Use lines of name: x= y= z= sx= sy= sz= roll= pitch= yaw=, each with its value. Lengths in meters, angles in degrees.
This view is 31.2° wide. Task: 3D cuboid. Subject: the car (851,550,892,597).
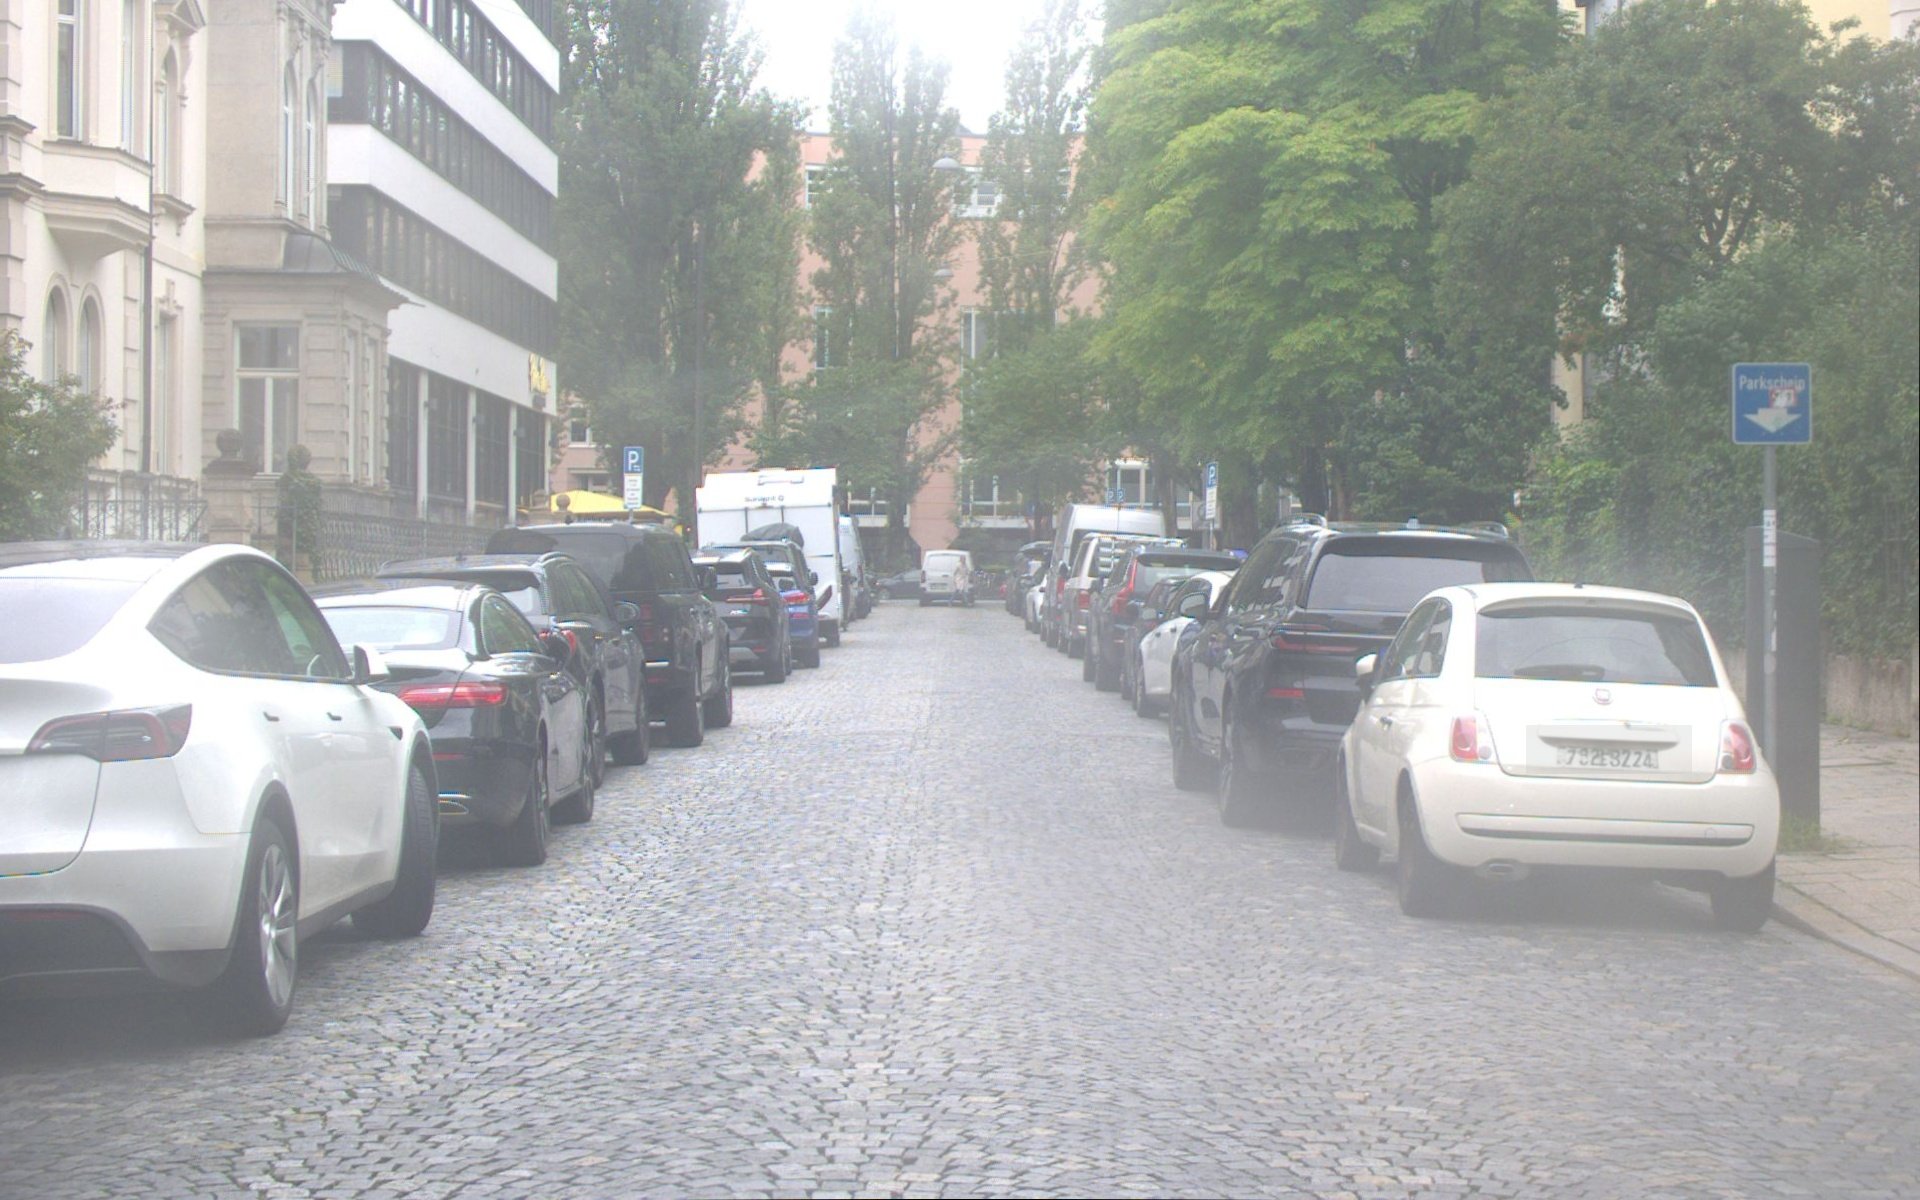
car: x=-2.923 y=-0.869 z=113.999 sx=1.276 sy=1.536 sz=3.119 roll=1 pitch=0 yaw=0

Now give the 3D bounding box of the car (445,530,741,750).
car: x=-3.072 y=0.270 z=29.726 sx=1.982 sy=1.731 sz=4.722 roll=1 pitch=1 yaw=1

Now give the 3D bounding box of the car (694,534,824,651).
car: x=-3.082 y=-0.134 z=53.351 sx=1.894 sy=1.745 sz=4.168 roll=0 pitch=1 yaw=-2

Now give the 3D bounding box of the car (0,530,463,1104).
car: x=-2.987 y=0.600 z=12.080 sx=1.773 sy=1.642 sz=4.391 roll=1 pitch=0 yaw=1

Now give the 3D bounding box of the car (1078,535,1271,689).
car: x=2.560 y=0.124 z=42.128 sx=1.963 sy=1.753 sz=4.954 roll=1 pitch=0 yaw=-1

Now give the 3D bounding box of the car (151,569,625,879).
car: x=-2.878 y=0.563 z=18.212 sx=1.773 sy=1.424 sz=4.391 roll=1 pitch=0 yaw=0

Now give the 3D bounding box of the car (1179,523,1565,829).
car: x=2.451 y=0.400 z=21.769 sx=1.875 sy=1.667 sz=5.491 roll=1 pitch=0 yaw=1

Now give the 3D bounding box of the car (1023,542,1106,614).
car: x=2.208 y=-0.464 z=73.184 sx=1.599 sy=1.481 sz=3.479 roll=1 pitch=0 yaw=-1

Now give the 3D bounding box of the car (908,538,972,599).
car: x=-0.630 y=-1.034 z=112.705 sx=1.996 sy=1.929 sz=4.000 roll=0 pitch=0 yaw=1

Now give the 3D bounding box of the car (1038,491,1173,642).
car: x=2.514 y=-0.628 z=60.694 sx=1.895 sy=2.418 sz=5.611 roll=4 pitch=1 yaw=-1

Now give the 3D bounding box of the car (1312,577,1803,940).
car: x=2.720 y=0.659 z=16.405 sx=1.630 sy=1.464 sz=3.659 roll=3 pitch=0 yaw=0

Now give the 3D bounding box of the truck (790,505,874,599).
truck: x=-3.262 y=-1.218 z=88.146 sx=1.993 sy=2.338 sz=4.068 roll=1 pitch=0 yaw=0

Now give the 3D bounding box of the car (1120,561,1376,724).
car: x=2.653 y=0.356 z=32.587 sx=1.773 sy=1.424 sz=4.391 roll=1 pitch=0 yaw=-4

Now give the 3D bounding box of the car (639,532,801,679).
car: x=-2.940 y=0.049 z=42.834 sx=1.773 sy=1.712 sz=4.391 roll=1 pitch=0 yaw=-1

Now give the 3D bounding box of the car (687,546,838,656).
car: x=-2.721 y=-0.004 z=48.082 sx=1.940 sy=1.454 sz=4.058 roll=1 pitch=0 yaw=-1

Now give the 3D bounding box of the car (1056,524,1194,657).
car: x=2.588 y=-0.162 z=54.873 sx=1.800 sy=1.943 sz=4.860 roll=3 pitch=0 yaw=-1

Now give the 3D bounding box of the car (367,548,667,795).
car: x=-3.093 y=0.460 z=24.702 sx=1.579 sy=1.584 sz=4.056 roll=-2 pitch=0 yaw=0

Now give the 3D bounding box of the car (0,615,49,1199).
car: x=-3.033 y=0.722 z=6.182 sx=1.773 sy=1.355 sz=4.391 roll=1 pitch=0 yaw=-2

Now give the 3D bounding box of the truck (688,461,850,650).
truck: x=-3.224 y=-0.799 z=59.352 sx=2.508 sy=3.021 sz=6.385 roll=-2 pitch=1 yaw=-1
